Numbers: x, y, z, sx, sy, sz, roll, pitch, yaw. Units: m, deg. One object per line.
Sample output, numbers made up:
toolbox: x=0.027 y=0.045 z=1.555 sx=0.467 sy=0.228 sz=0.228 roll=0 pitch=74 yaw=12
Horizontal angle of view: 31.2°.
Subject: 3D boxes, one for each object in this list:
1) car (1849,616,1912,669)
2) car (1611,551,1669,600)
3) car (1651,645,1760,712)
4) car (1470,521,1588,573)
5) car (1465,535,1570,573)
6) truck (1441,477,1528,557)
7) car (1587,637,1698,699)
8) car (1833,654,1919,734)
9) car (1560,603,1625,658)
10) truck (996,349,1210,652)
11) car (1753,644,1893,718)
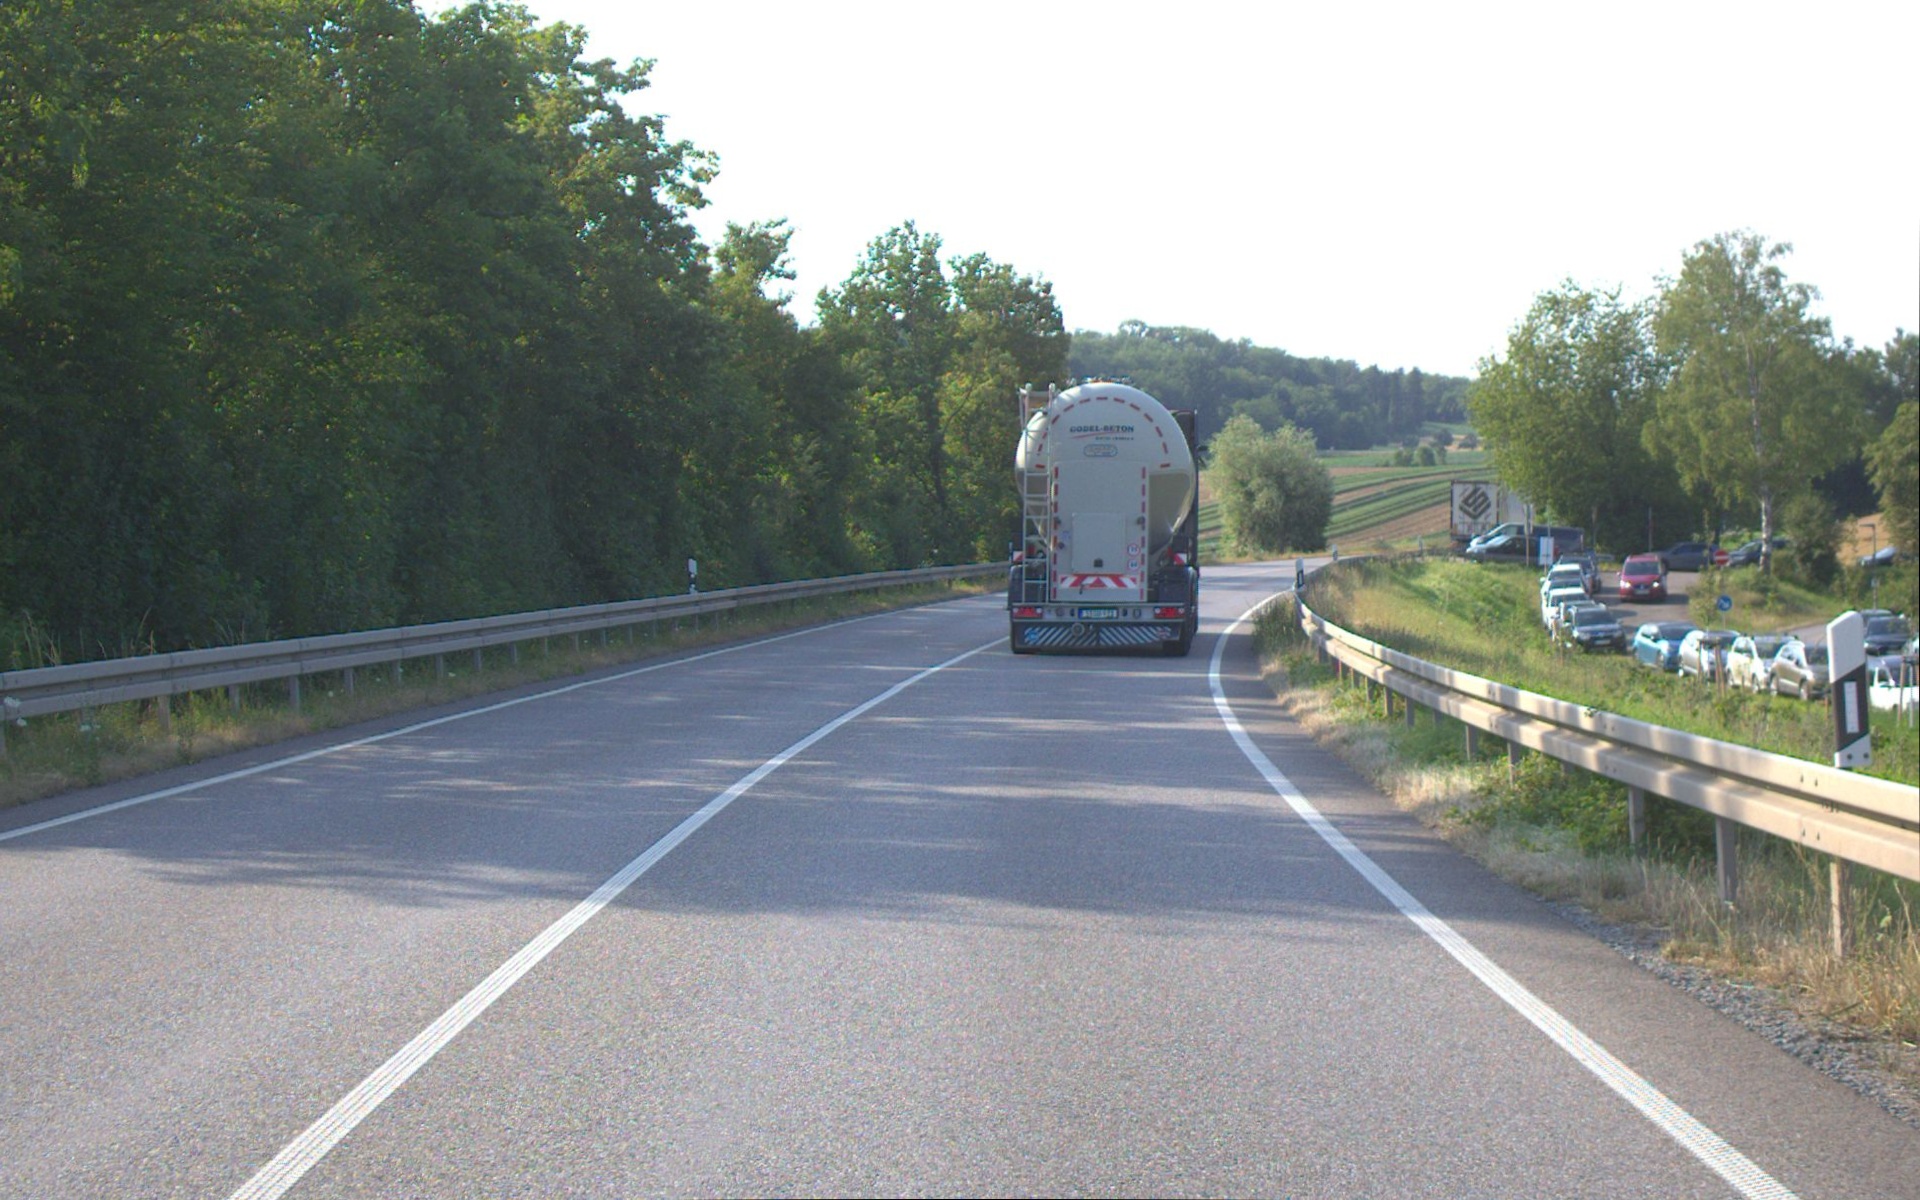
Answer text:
car: x=29.620 y=1.352 z=110.599 sx=1.702 sy=1.394 sz=4.781 roll=-3 pitch=1 yaw=17
car: x=27.929 y=-1.026 z=141.365 sx=1.892 sy=1.681 sz=5.086 roll=-3 pitch=3 yaw=7
car: x=22.060 y=2.295 z=101.925 sx=1.892 sy=1.554 sz=4.784 roll=-4 pitch=3 yaw=-3
car: x=26.437 y=-2.472 z=159.683 sx=5.143 sy=1.937 sz=1.974 roll=6 pitch=3 yaw=12
car: x=25.291 y=-2.096 z=156.028 sx=4.309 sy=1.395 sz=1.721 roll=3 pitch=3 yaw=-15
truck: x=28.963 y=-4.623 z=189.297 sx=3.186 sy=4.213 sz=13.163 roll=0 pitch=2 yaw=15
car: x=21.405 y=2.117 z=108.017 sx=1.891 sy=1.554 sz=4.784 roll=-4 pitch=3 yaw=-8
car: x=23.488 y=2.307 z=85.113 sx=1.891 sy=1.554 sz=4.784 roll=-4 pitch=3 yaw=-8
car: x=22.011 y=1.046 z=119.781 sx=1.892 sy=1.554 sz=4.782 roll=-3 pitch=3 yaw=7
truck: x=2.159 y=-1.480 z=53.738 sx=2.893 sy=4.128 sz=13.172 roll=1 pitch=1 yaw=2
car: x=22.868 y=2.129 z=91.234 sx=1.891 sy=1.554 sz=4.784 roll=-4 pitch=3 yaw=-8
